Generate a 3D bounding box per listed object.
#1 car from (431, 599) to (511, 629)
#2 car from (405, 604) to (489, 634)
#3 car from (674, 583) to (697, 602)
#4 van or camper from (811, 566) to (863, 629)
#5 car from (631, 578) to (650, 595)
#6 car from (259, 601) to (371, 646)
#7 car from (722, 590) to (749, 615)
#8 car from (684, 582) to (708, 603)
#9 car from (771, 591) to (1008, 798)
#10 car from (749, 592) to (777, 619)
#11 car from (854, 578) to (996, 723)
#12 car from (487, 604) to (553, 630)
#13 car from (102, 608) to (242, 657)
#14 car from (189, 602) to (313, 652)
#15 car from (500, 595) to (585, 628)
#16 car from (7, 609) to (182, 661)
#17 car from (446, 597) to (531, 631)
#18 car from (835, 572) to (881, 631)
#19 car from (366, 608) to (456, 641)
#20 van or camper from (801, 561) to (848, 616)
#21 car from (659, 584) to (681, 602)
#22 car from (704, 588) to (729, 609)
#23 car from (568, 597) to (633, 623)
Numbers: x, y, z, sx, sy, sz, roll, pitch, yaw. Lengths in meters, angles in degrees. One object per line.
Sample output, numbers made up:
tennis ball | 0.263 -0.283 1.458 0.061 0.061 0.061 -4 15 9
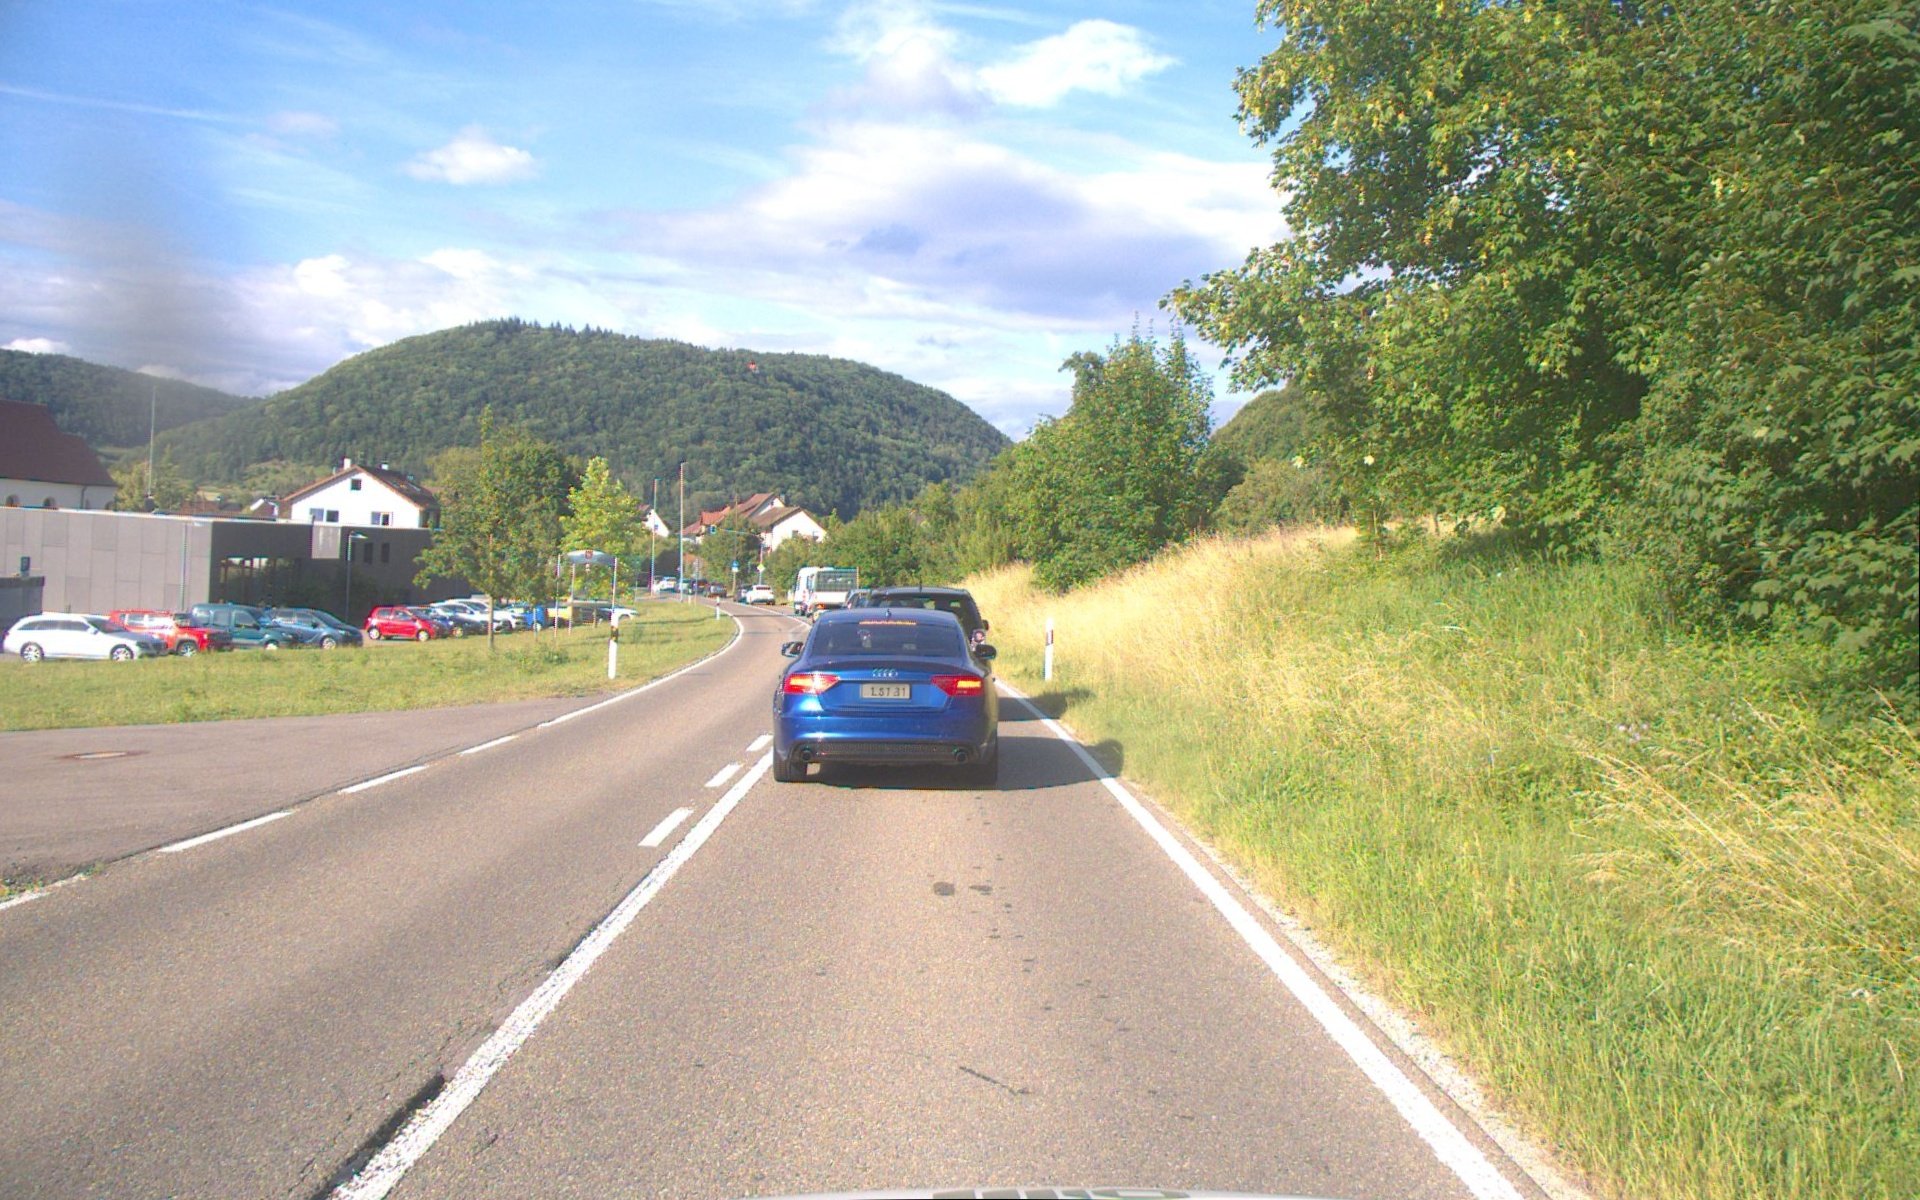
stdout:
car | -24.869 0.706 84.178 3.589 1.520 1.597 0 -1 4
car | -25.113 0.943 80.990 3.548 1.430 1.597 0 -3 4
car | -28.503 -0.755 171.745 1.652 1.958 3.976 0 0 -20
van or camper | -5.231 -0.096 69.917 2.012 2.549 5.804 0 0 -6
car | -37.918 -1.547 196.332 1.652 1.958 3.976 0 0 -20
car | -25.644 0.935 65.801 3.738 1.752 1.733 0 0 3
car | -18.014 0.206 132.621 1.632 1.958 3.984 0 0 -15
car | -26.047 -0.732 162.997 1.652 1.958 3.977 0 0 -19
car | -0.524 0.693 13.970 1.707 1.476 3.516 2 0 0
car | -14.590 0.424 122.158 1.631 1.958 3.986 0 0 -13
car | -0.502 0.592 21.198 1.613 1.653 3.515 2 0 -3
car | -24.846 0.939 93.451 3.302 1.397 1.659 -1 0 -4
car | -26.407 1.084 55.502 3.837 1.606 1.756 0 0 3
car | -26.175 0.977 61.157 3.782 1.752 1.756 1 0 1
car | -24.248 0.676 96.112 4.457 1.846 1.842 0 0 4
car | -27.483 1.091 52.625 4.543 1.616 2.001 0 0 3
car | -24.882 0.716 87.393 3.991 1.702 1.598 0 2 4
car | -3.689 0.053 59.488 1.537 2.049 3.996 0 0 -5
car | -25.202 1.115 75.936 3.548 1.469 1.649 0 0 4
van or camper | -7.207 -0.592 87.547 2.237 2.761 5.758 0 0 -7
car | -31.663 -0.759 180.356 1.652 1.958 3.976 0 0 -20
car | -22.334 -0.144 151.827 1.634 1.958 3.979 0 0 -18
car | -24.037 0.668 110.738 3.950 1.689 1.656 0 0 4
